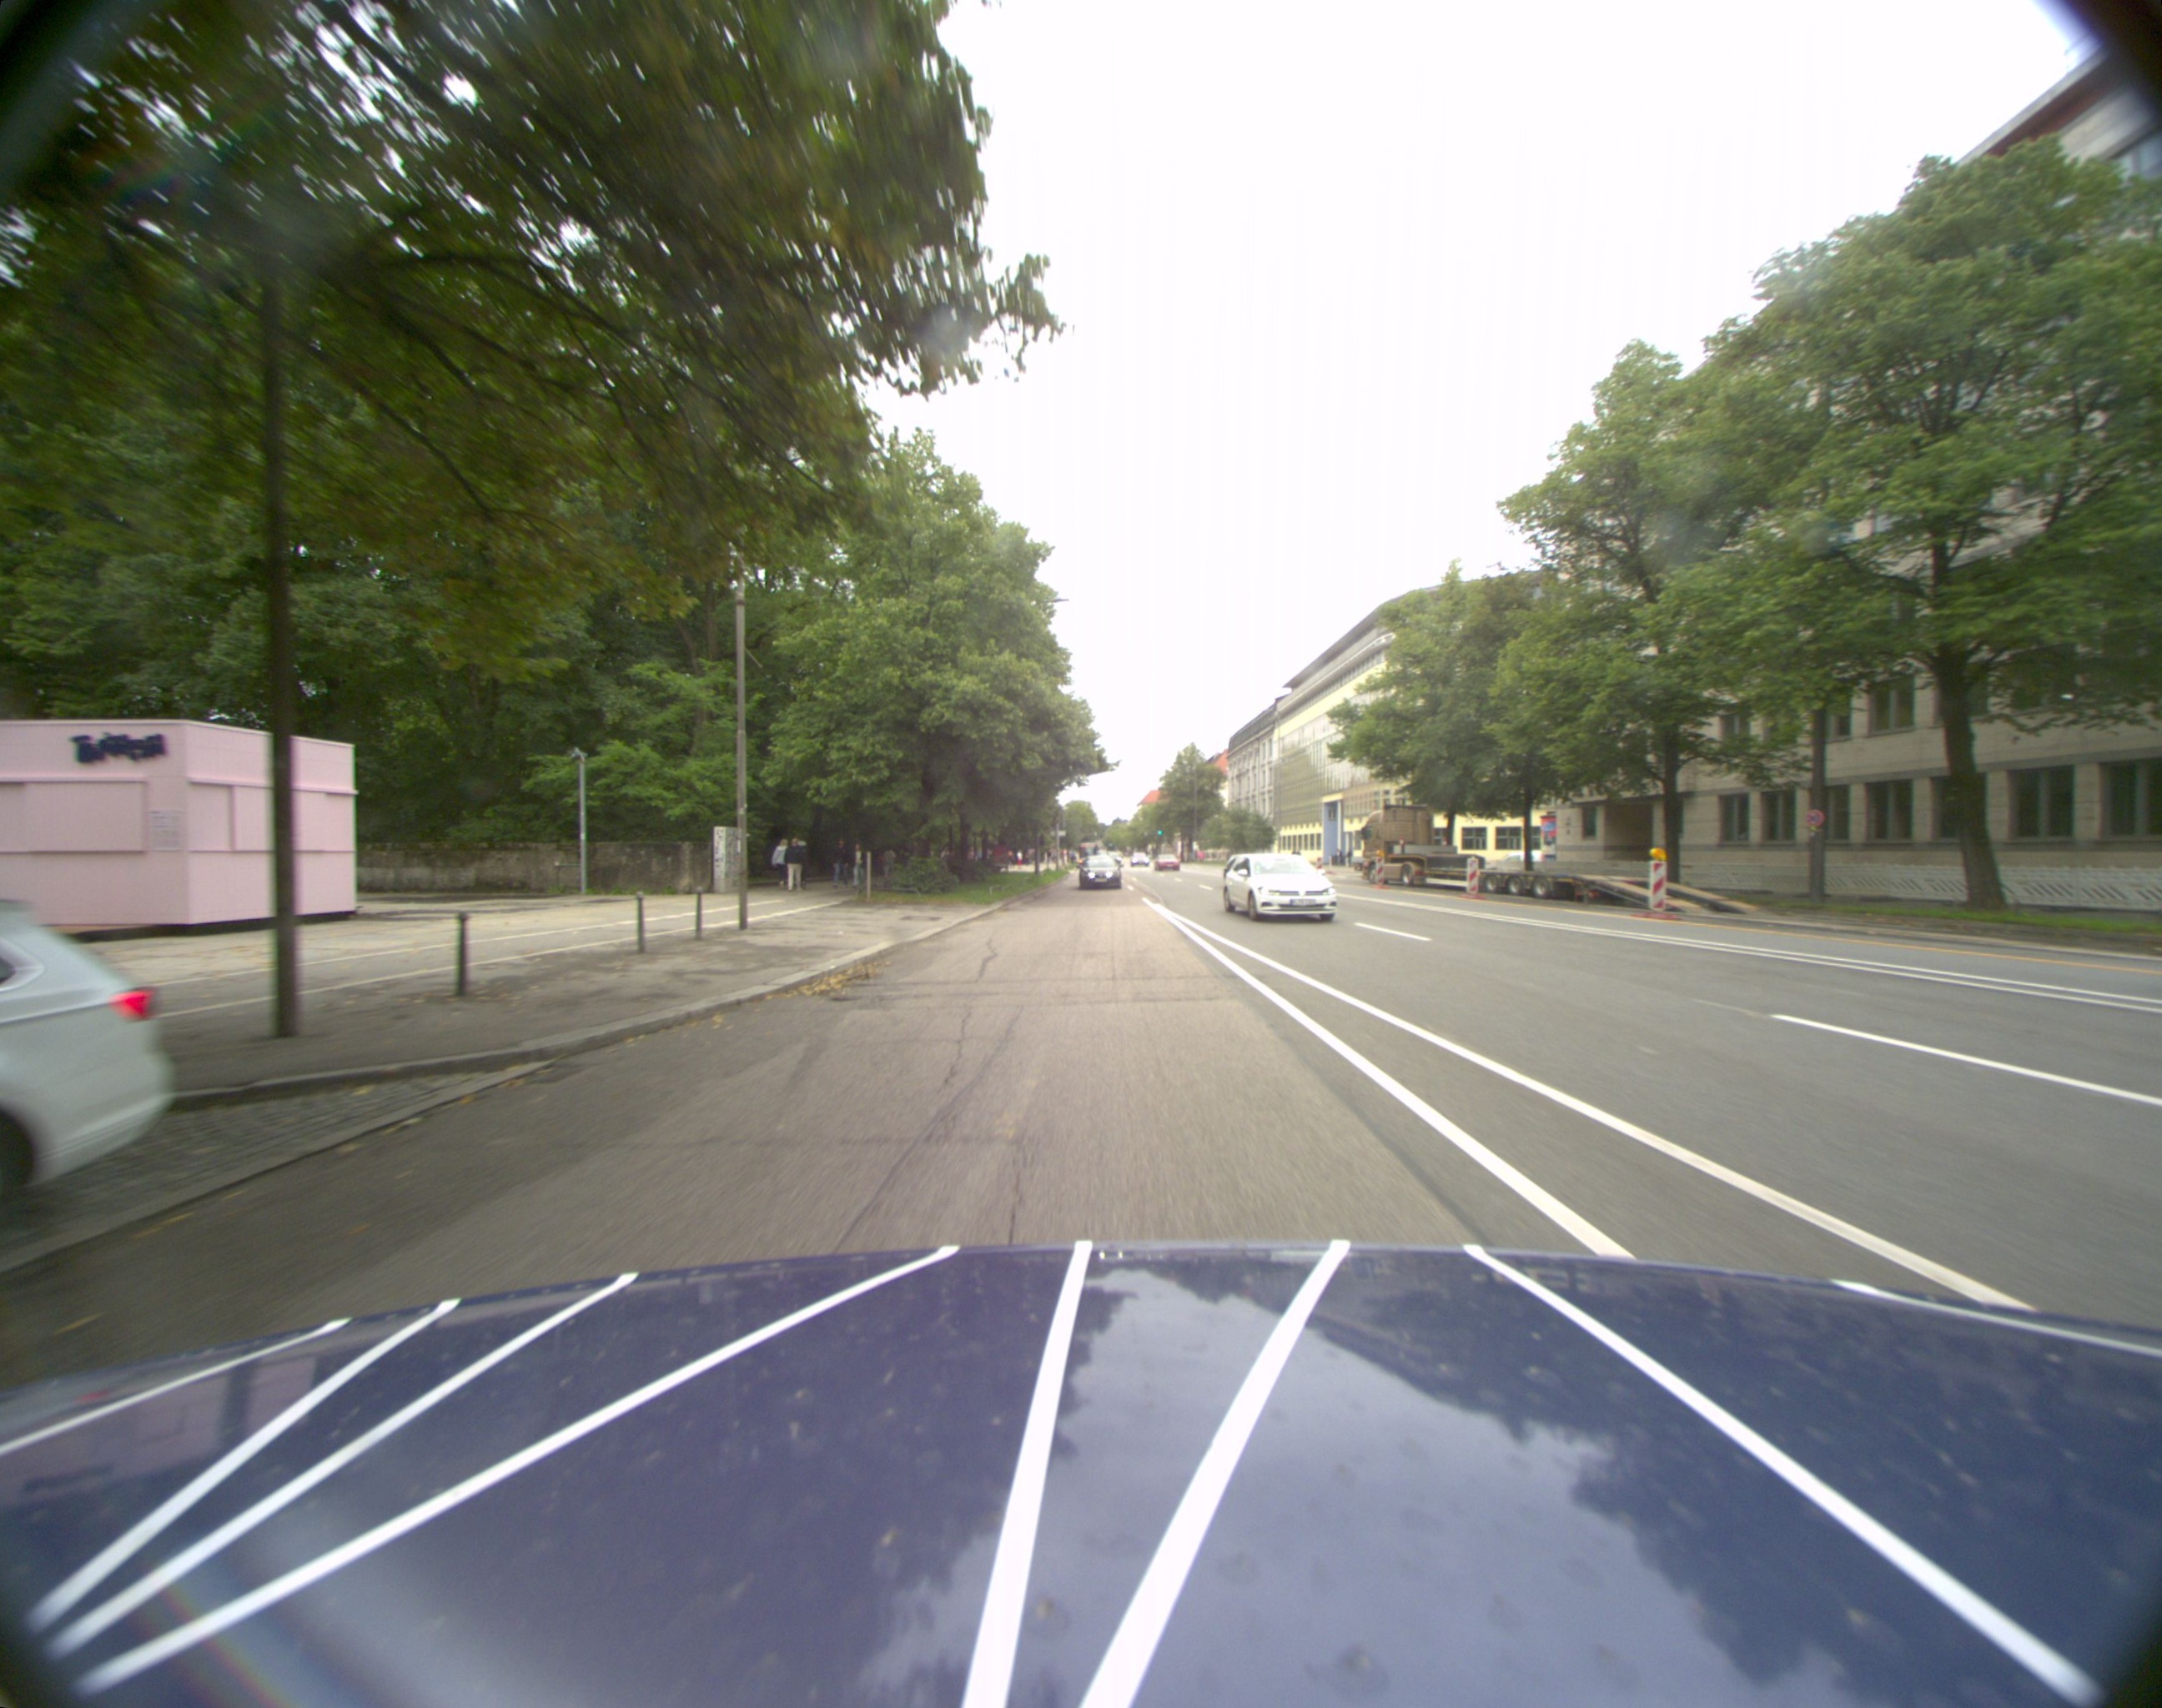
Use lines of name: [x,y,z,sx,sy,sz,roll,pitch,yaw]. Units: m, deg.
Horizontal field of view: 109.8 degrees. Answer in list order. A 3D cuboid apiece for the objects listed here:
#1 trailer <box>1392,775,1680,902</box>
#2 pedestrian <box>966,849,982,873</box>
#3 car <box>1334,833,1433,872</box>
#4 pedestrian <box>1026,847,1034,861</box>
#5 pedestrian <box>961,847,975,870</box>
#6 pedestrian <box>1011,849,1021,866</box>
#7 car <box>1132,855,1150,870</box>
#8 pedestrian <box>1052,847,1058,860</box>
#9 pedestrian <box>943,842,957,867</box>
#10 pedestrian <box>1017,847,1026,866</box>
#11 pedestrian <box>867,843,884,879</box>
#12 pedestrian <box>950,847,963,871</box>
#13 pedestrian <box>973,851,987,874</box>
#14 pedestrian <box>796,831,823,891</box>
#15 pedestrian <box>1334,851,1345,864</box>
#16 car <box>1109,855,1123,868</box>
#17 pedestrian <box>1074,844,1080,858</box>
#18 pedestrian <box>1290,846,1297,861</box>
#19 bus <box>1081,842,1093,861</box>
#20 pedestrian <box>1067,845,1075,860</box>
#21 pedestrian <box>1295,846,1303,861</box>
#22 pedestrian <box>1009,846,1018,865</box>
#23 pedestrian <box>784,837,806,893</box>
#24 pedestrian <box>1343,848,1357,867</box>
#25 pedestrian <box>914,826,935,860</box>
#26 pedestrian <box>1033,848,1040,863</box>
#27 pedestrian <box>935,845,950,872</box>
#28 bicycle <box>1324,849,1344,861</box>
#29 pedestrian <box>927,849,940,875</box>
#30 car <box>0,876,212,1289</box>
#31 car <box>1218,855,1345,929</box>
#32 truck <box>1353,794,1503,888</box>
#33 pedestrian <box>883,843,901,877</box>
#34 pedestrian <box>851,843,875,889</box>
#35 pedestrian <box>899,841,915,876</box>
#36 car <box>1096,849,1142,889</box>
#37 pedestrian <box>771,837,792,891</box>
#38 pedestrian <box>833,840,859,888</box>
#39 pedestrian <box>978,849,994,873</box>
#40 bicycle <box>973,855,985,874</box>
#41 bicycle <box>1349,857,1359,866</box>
trailer: [15.969,-0.496,28.456,2.958,3.718,11.765,-2,0,-4]
pedestrian: [-7.282,0.483,51.916,0.755,1.634,0.851,-1,1,16]
car: [19.979,-0.112,50.333,5.696,2.522,2.156,0,1,-3]
pedestrian: [-5.875,-0.012,87.371,0.728,1.681,0.648,-1,1,6]
pedestrian: [-8.444,0.320,56.601,0.755,1.634,0.691,-1,1,16]
pedestrian: [-6.184,0.322,72.317,0.694,1.642,0.610,-2,1,-32]
car: [6.474,0.877,82.176,1.638,1.562,3.946,0,0,1]
pedestrian: [-3.615,-0.054,106.901,0.710,1.904,0.956,-2,1,1]
pedestrian: [-7.952,0.036,46.034,0.682,1.506,0.562,-2,1,1]
pedestrian: [-5.524,0.219,70.852,0.728,1.681,0.648,-1,1,6]
pedestrian: [-9.751,0.332,36.097,0.581,1.666,0.553,-1,1,4]
pedestrian: [-9.765,0.400,59.587,0.694,1.862,0.610,-2,1,-34]
pedestrian: [-7.502,0.627,56.387,0.755,1.634,0.651,-1,1,16]
pedestrian: [-9.309,0.233,26.097,0.595,2.002,0.724,2,1,1]
pedestrian: [27.030,0.335,79.515,0.839,1.356,1.086,0,0,0]
car: [4.467,0.949,97.573,1.638,1.562,3.946,0,0,1]
pedestrian: [-0.572,-0.439,97.681,0.710,1.798,0.639,-2,1,0]
pedestrian: [24.678,-0.062,88.221,0.617,1.766,0.836,-2,1,1]
bus: [0.810,-0.292,105.577,1.638,2.570,6.701,0,0,1]
pedestrian: [-1.228,-0.243,96.014,0.804,1.870,0.545,-1,1,37]
pedestrian: [25.317,-0.087,88.217,0.617,1.766,0.836,-2,1,1]
pedestrian: [-6.734,0.164,75.914,0.610,1.903,0.694,-1,1,17]
pedestrian: [-9.355,0.343,24.876,0.597,1.798,0.723,1,1,-23]
pedestrian: [25.054,0.316,70.754,0.992,1.723,0.816,-1,1,31]
pedestrian: [-8.285,-0.575,40.278,0.755,1.727,0.851,-1,1,16]
pedestrian: [-5.114,0.177,87.300,0.728,1.681,0.648,-1,1,6]
pedestrian: [-8.160,0.282,44.773,0.682,1.557,0.872,-2,1,2]
bicycle: [27.583,0.121,82.788,2.014,1.311,0.638,-2,1,-5]
pedestrian: [-9.097,0.494,46.809,0.682,1.628,0.601,0,1,1]
car: [-5.064,0.896,1.205,1.832,1.541,4.751,0,1,1]
car: [4.437,0.763,17.491,1.797,1.439,4.274,0,1,0]
truck: [15.519,-0.558,34.754,2.924,3.753,7.662,-2,1,-3]
pedestrian: [-9.944,0.312,39.971,0.632,1.763,0.782,-1,1,4]
pedestrian: [-8.114,0.437,28.293,0.609,1.671,0.754,-1,1,4]
pedestrian: [-9.134,0.230,39.909,0.589,1.812,0.850,-2,1,2]
car: [1.589,0.595,33.033,1.797,1.627,4.274,0,1,0]
pedestrian: [-10.091,0.330,25.629,0.597,1.798,0.723,1,1,-23]
pedestrian: [-8.777,0.352,28.359,0.609,1.753,0.797,-1,1,4]
pedestrian: [-6.466,0.462,51.674,0.755,1.634,0.851,-1,1,16]
bicycle: [-5.799,0.577,43.257,0.385,1.015,2.079,-2,1,1]
bicycle: [26.503,0.731,73.719,0.478,0.872,1.737,0,0,4]
